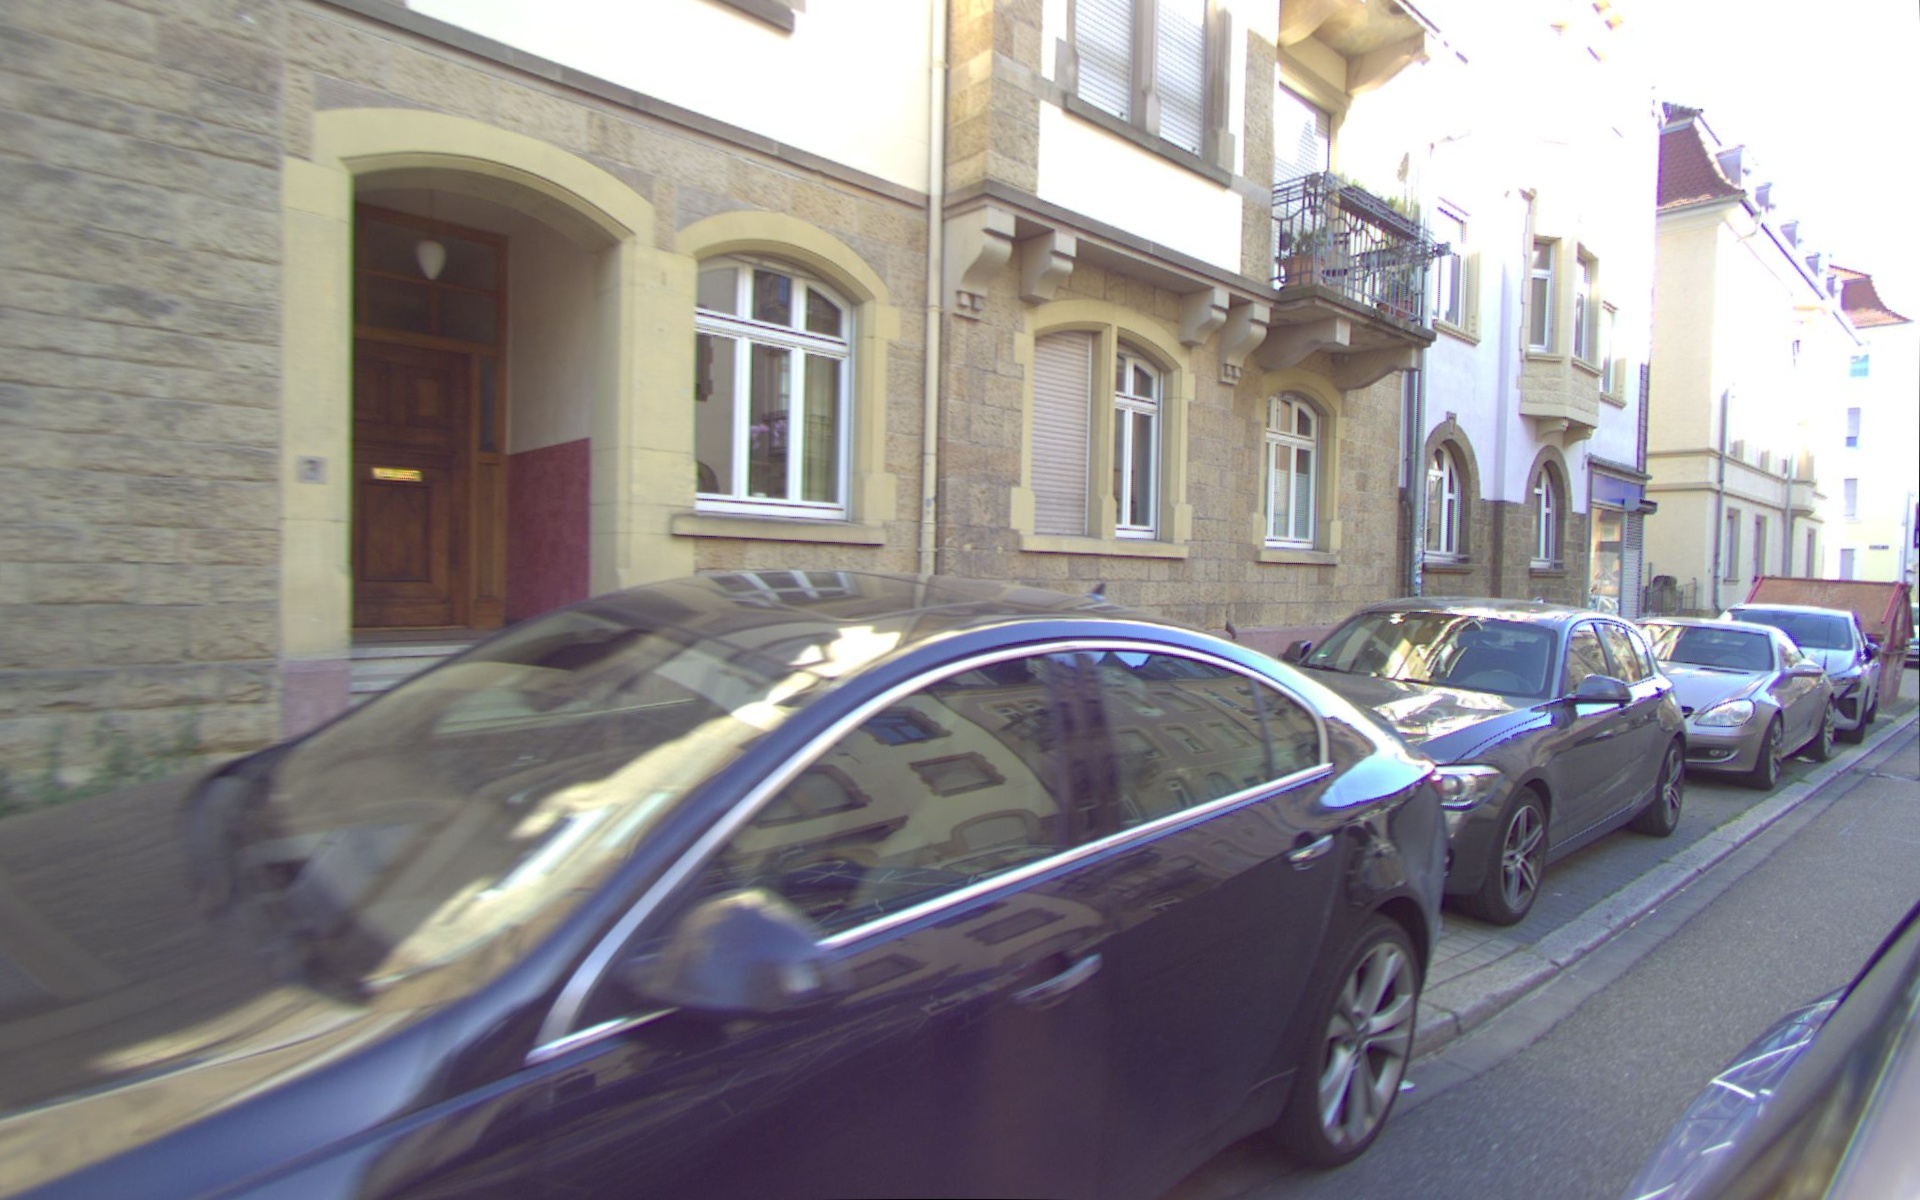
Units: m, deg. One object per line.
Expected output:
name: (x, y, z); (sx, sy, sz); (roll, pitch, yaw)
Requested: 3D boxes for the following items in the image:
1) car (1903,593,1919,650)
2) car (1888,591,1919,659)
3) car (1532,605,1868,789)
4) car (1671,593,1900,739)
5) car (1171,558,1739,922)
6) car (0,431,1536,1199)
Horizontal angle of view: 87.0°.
car: (26.743, 0.588, 27.206); (4.024, 1.482, 1.655); (0, 2, -42)
car: (22.894, 0.578, 23.560); (3.649, 1.482, 1.588); (0, 2, -43)
car: (7.062, 0.741, 9.520); (3.872, 1.270, 1.696); (0, 3, -41)
car: (10.222, 0.676, 12.433); (3.745, 1.447, 1.787); (0, 2, -45)
car: (3.238, 0.551, 6.170); (4.186, 1.460, 1.654); (0, 3, -42)
car: (-0.429, 0.564, 2.428); (4.264, 1.480, 1.869); (0, 2, -42)
